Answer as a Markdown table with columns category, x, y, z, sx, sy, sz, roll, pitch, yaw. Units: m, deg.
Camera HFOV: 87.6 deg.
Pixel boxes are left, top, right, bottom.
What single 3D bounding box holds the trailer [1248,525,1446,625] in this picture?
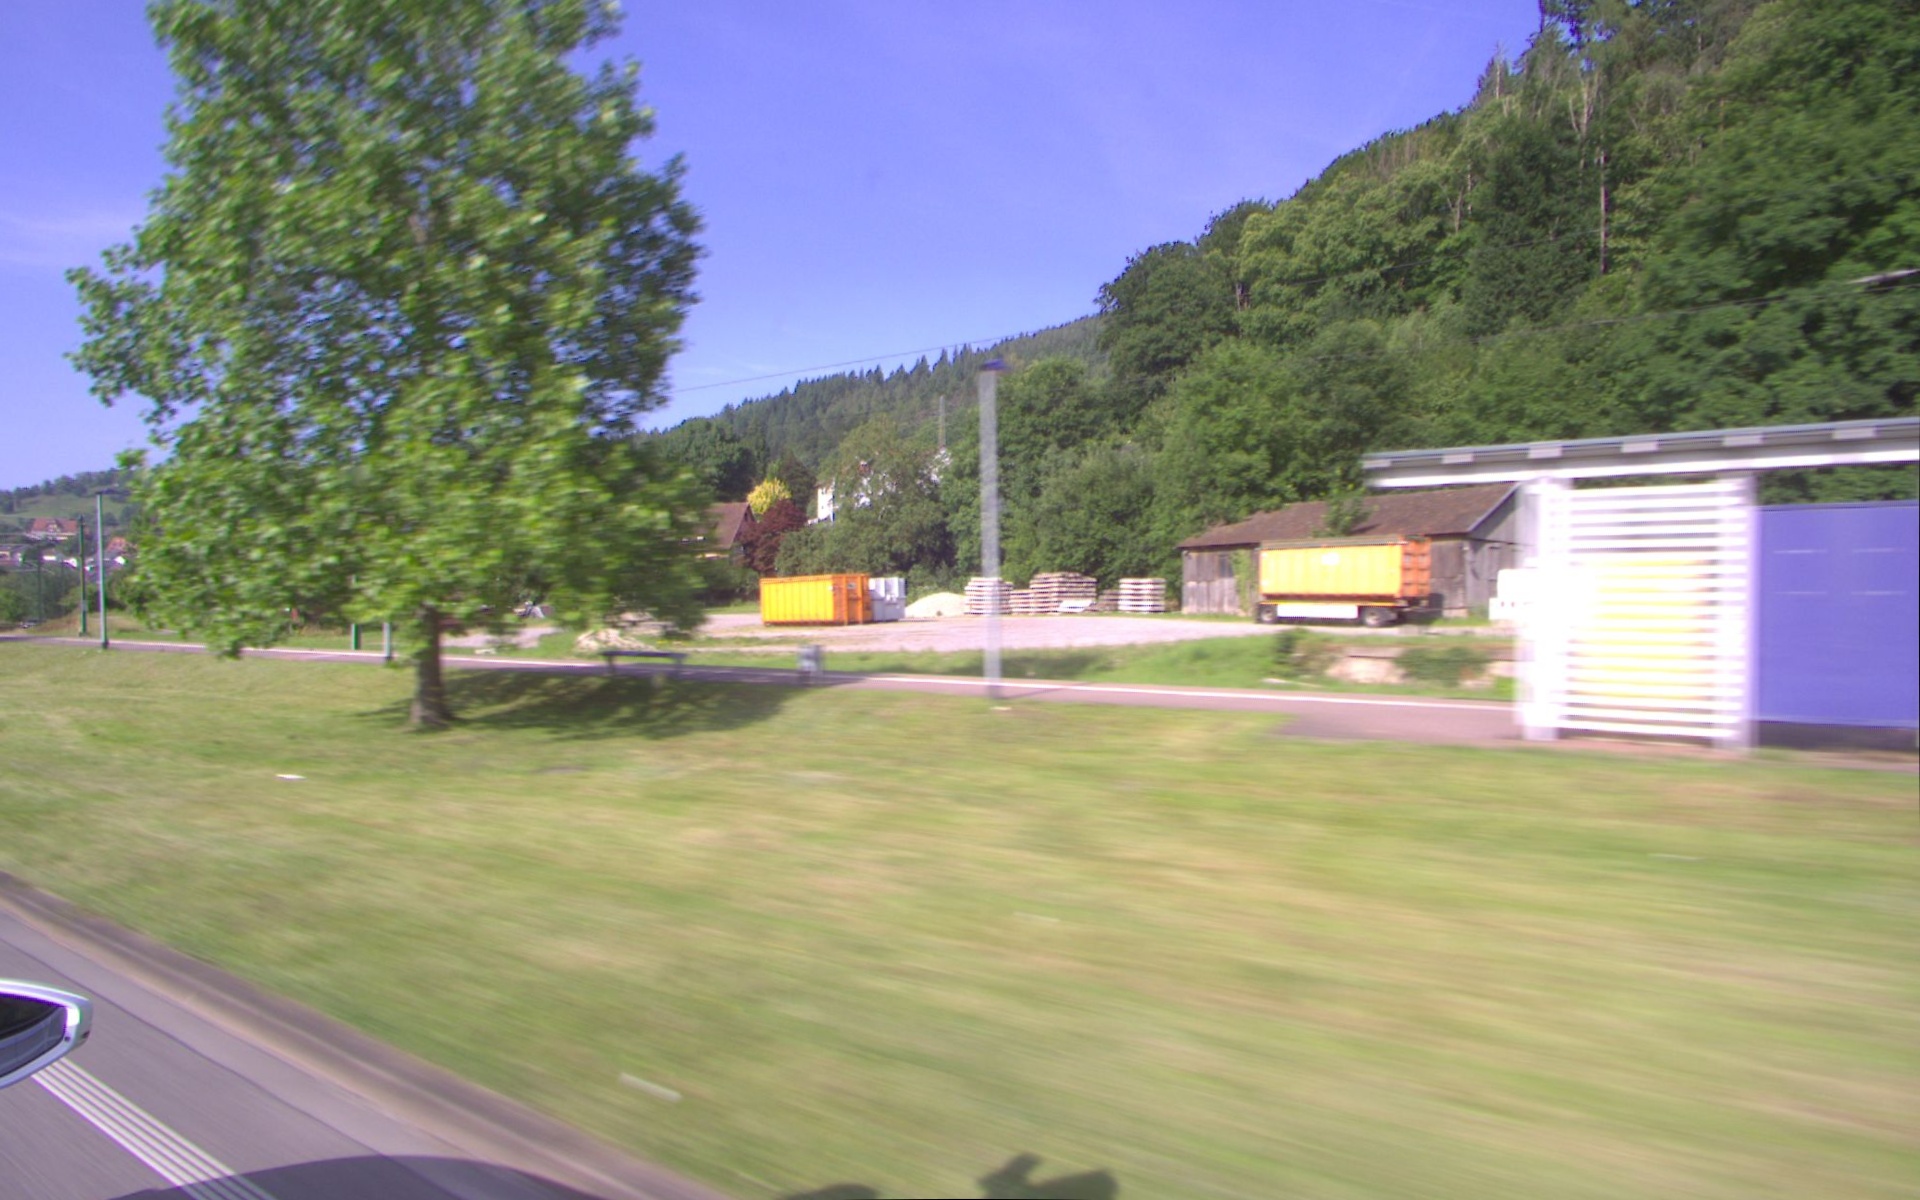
| category | x | y | z | sx | sy | sz | roll | pitch | yaw |
| --- | --- | --- | --- | --- | --- | --- | --- | --- | --- |
| trailer | 16.443 | -0.962 | 43.042 | 2.586 | 3.945 | 7.666 | -1 | 0 | -40 |
